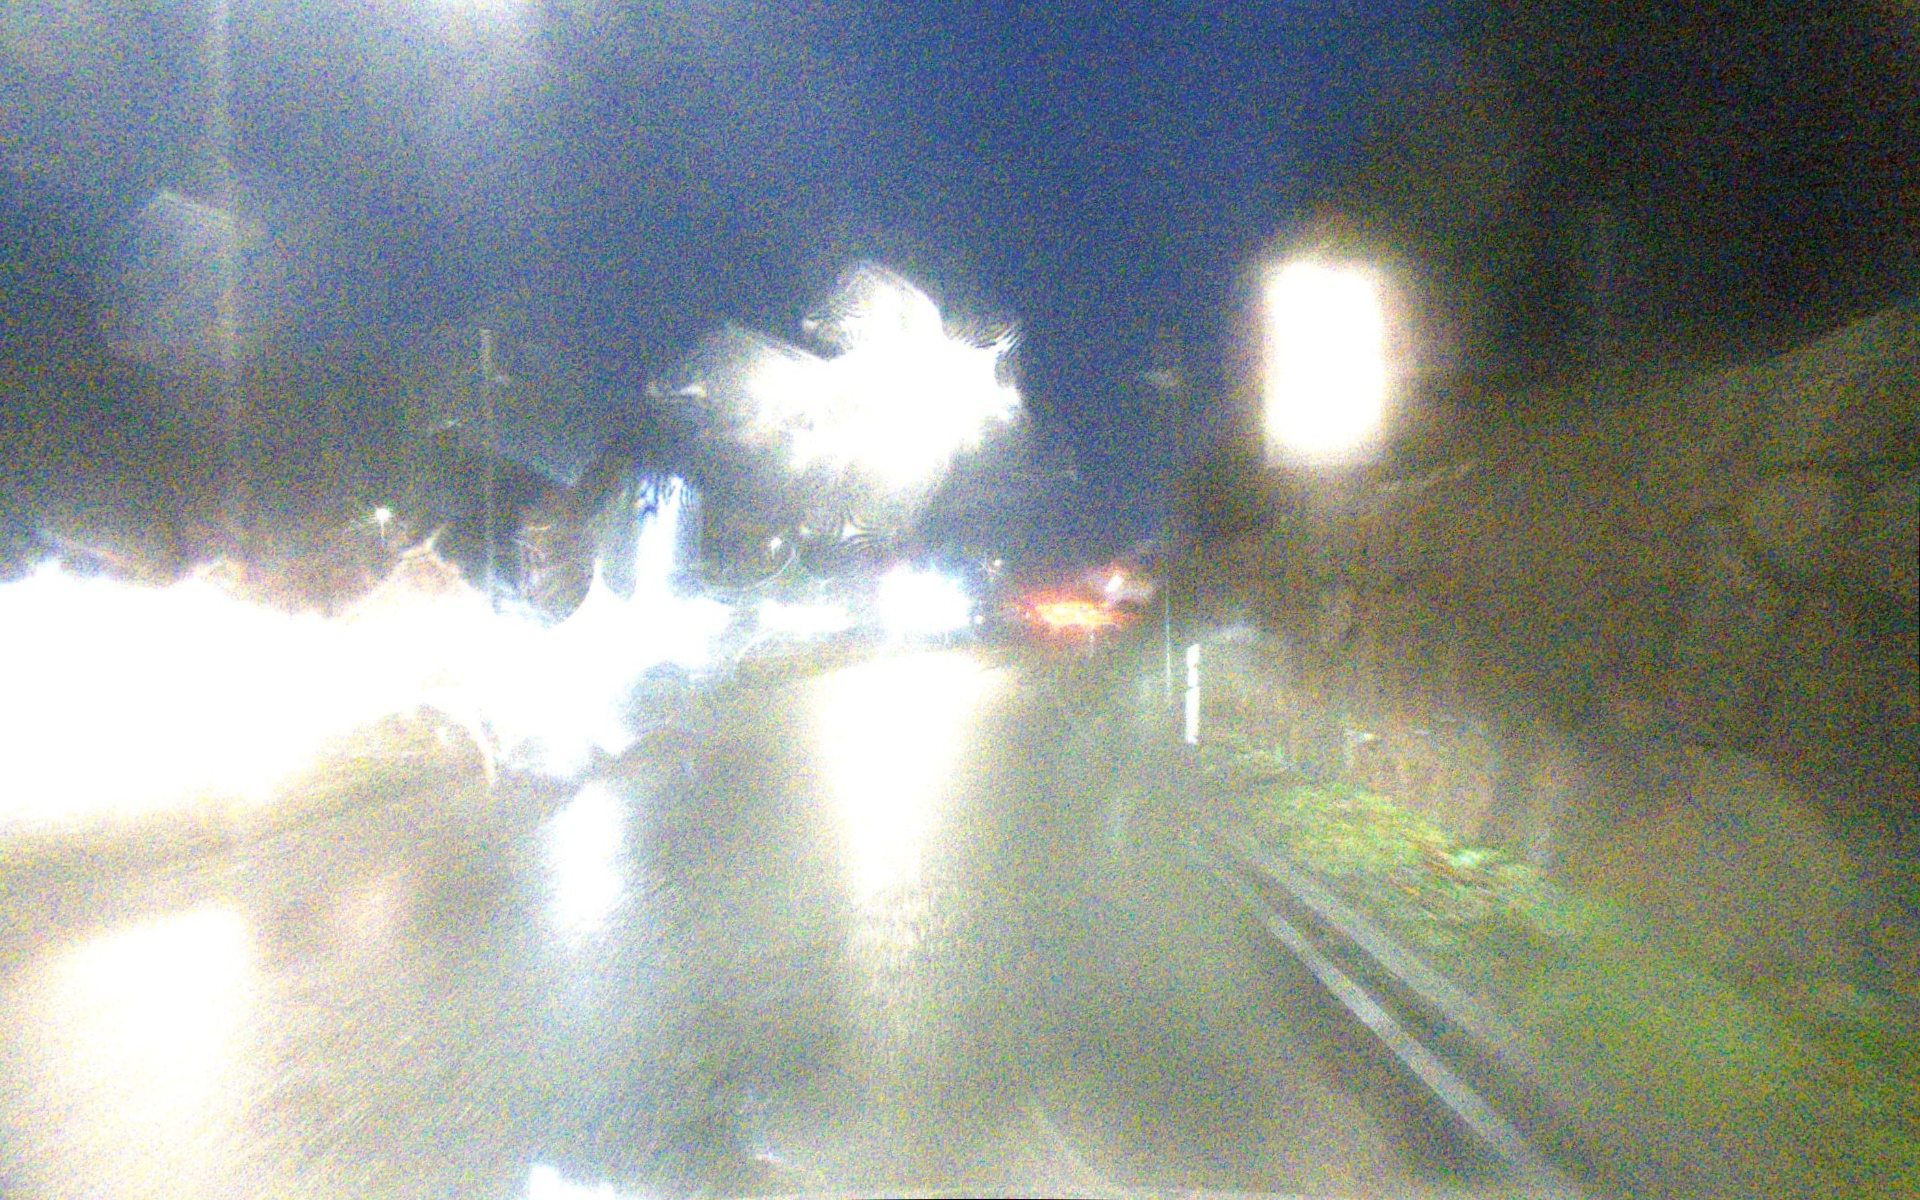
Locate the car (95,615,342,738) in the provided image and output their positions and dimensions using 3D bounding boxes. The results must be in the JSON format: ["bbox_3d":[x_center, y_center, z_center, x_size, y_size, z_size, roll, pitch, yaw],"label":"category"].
[{"bbox_3d":[-10.043,1.018,22.703,1.552,1.552,3.653,0,-2,4],"label":"car"}]

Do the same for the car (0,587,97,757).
[{"bbox_3d":[-10.589,0.727,16.600,1.646,1.721,3.949,0,-2,2],"label":"car"}]

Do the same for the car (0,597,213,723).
[{"bbox_3d":[-13.250,0.884,25.033,1.952,1.750,4.000,0,-2,2],"label":"car"}]

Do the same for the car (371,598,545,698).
[{"bbox_3d":[-9.250,0.883,30.836,1.681,1.733,4.145,0,-1,5],"label":"car"}]

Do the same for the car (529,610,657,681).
[{"bbox_3d":[-8.540,1.078,38.901,1.672,1.561,4.602,0,-2,4],"label":"car"}]
